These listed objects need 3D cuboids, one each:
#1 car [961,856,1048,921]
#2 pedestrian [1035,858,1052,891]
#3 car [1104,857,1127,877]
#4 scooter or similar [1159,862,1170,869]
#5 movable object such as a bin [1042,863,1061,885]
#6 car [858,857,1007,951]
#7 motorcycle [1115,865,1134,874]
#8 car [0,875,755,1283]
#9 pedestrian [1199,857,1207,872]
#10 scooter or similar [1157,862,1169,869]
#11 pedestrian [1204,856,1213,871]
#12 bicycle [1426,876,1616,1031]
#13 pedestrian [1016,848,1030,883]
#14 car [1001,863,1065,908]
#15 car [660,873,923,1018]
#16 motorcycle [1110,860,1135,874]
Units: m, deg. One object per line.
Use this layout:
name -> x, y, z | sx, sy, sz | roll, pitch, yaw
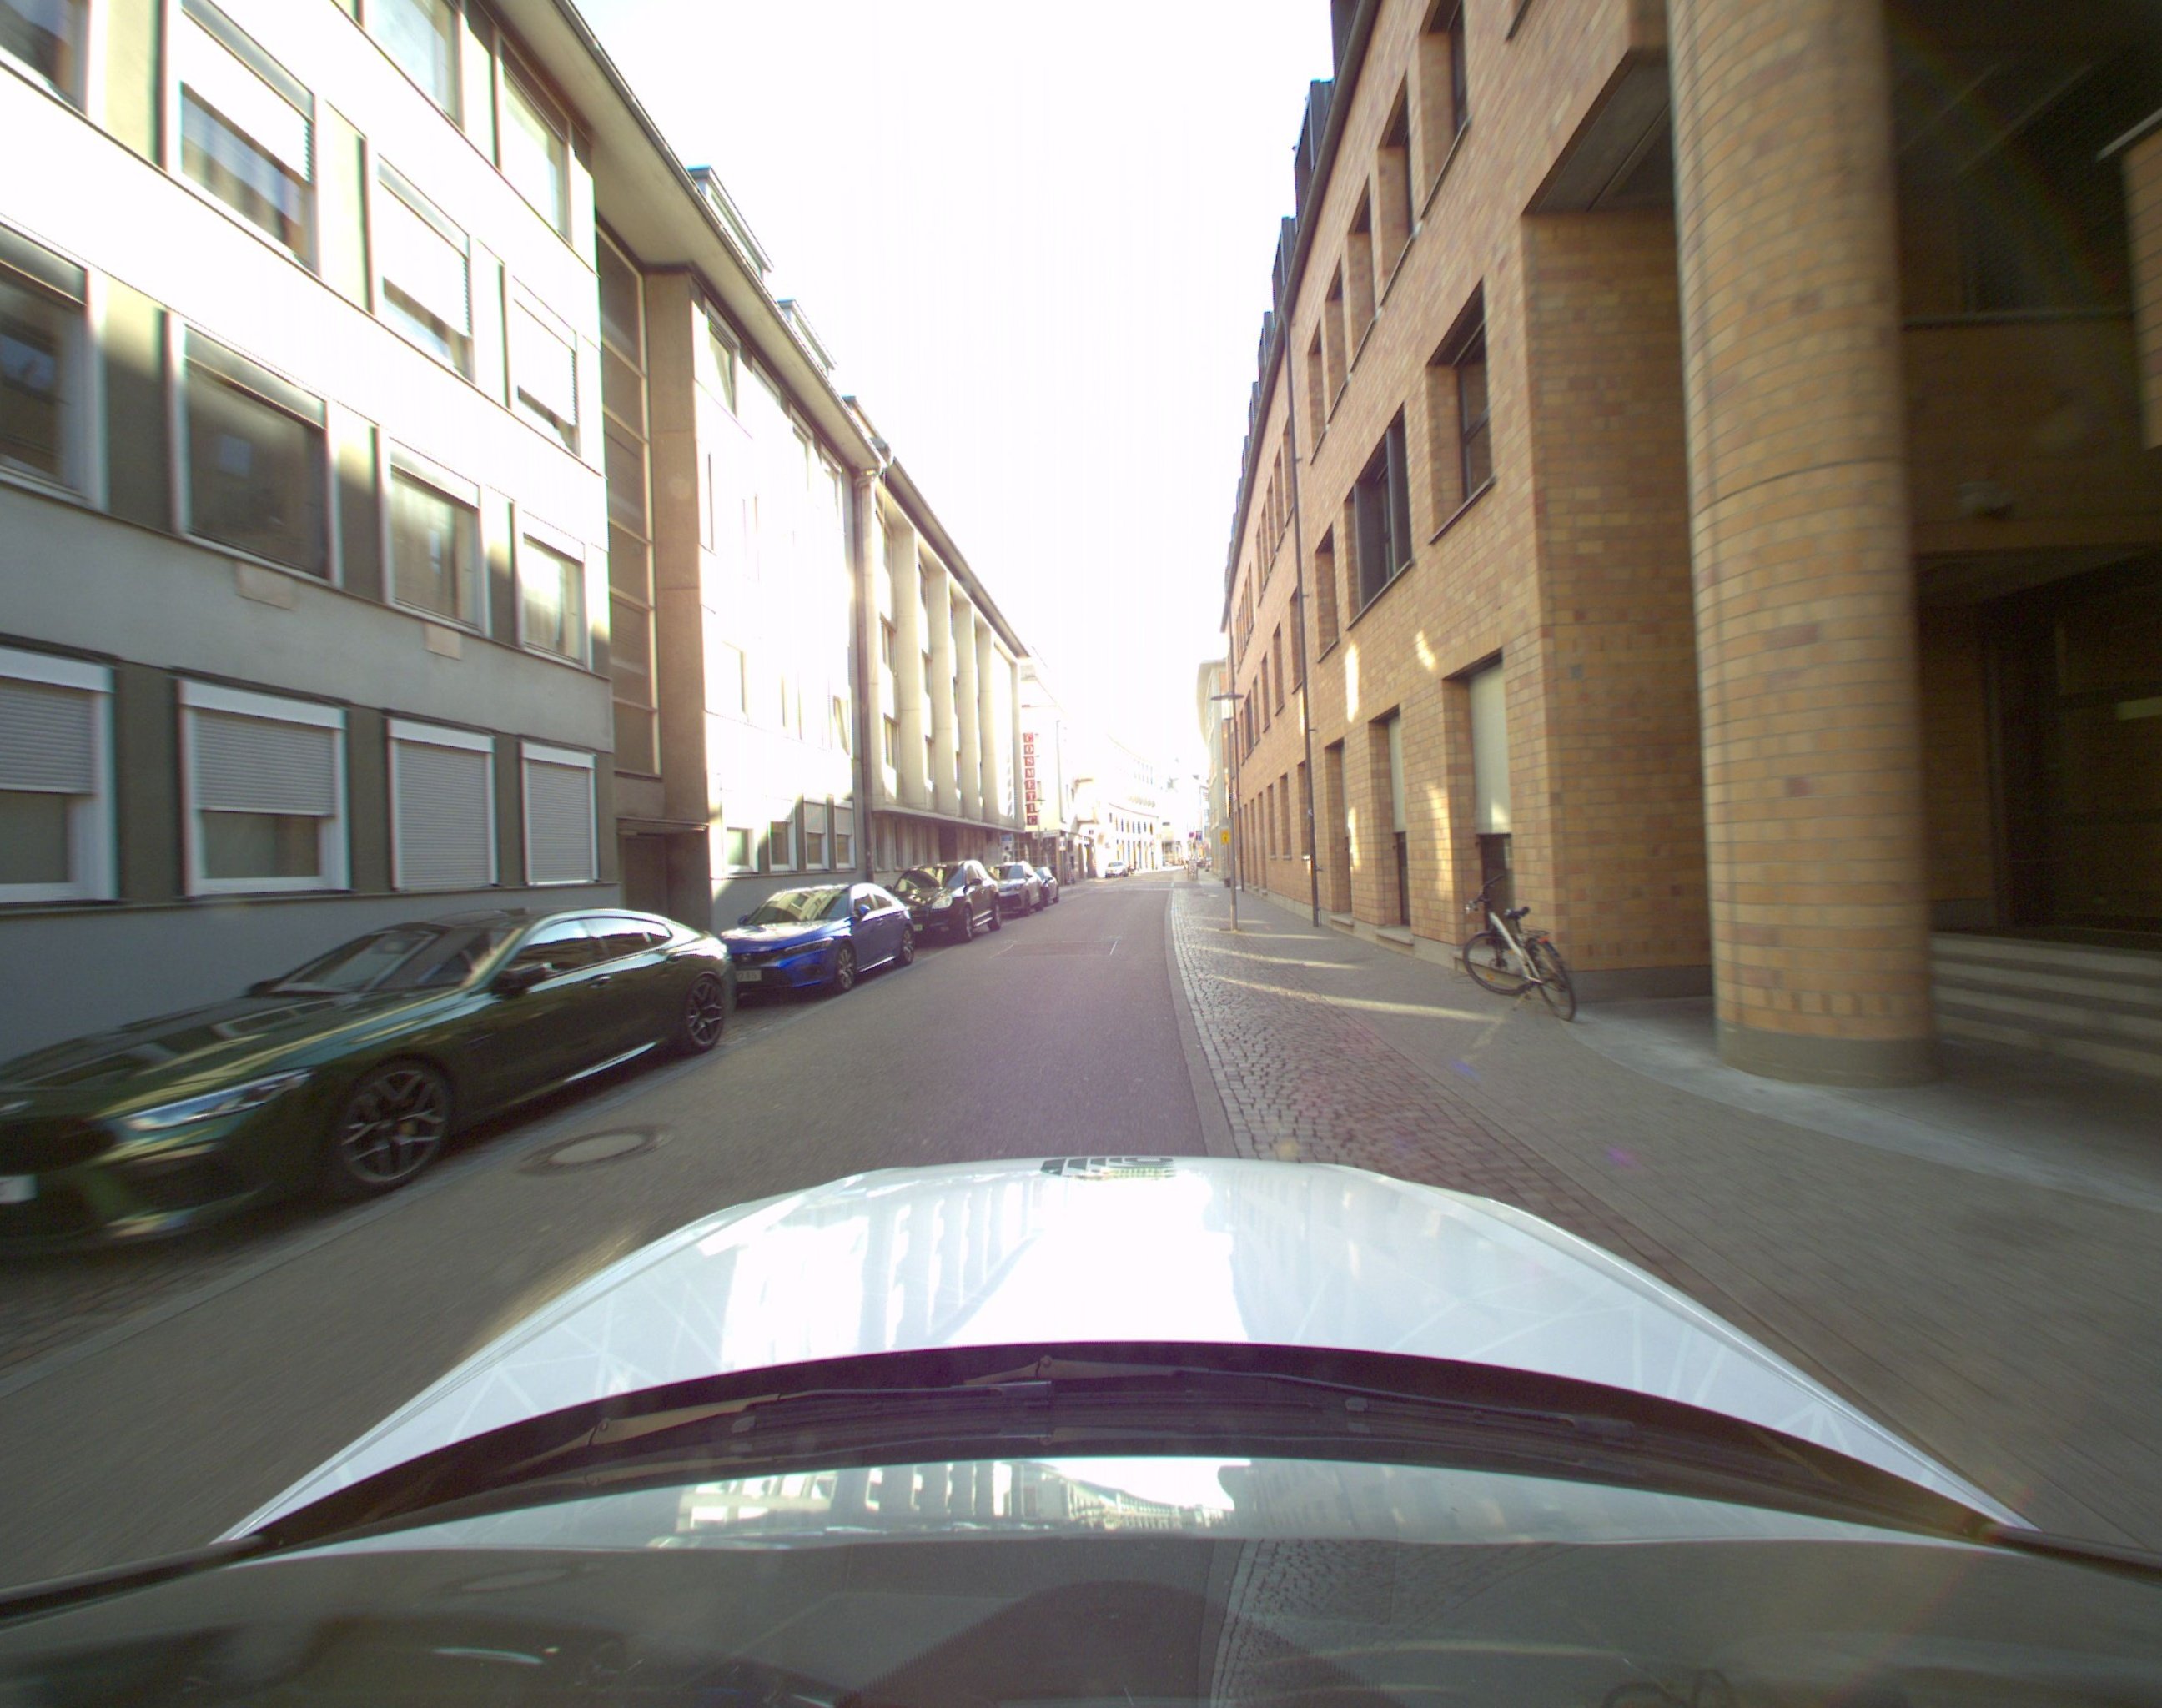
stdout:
car -> -2.268, 1.000, 25.365 | 1.881, 1.742, 4.396 | -3, 0, 5
pedestrian -> -1.896, 1.013, 41.011 | 0.649, 1.625, 0.452 | -2, -1, -35
car -> 3.016, 1.108, 70.687 | 1.727, 1.606, 3.540 | -2, 0, 7
scooter or similar -> 11.948, 1.617, 116.163 | 0.520, 0.928, 2.242 | -2, 0, 36
movable object such as a bin -> -1.976, 1.328, 54.139 | 0.939, 1.420, 0.874 | 1, -2, -41
car -> -3.038, 0.957, 17.747 | 1.880, 1.675, 4.561 | -3, 0, 6
motorcycle -> 4.180, 1.514, 78.158 | 1.680, 0.859, 0.596 | -1, -1, 11
car -> -4.435, 1.051, 5.829 | 1.881, 1.530, 4.735 | -4, 0, 4
pedestrian -> 15.452, 1.335, 103.211 | 0.662, 1.869, 0.780 | 0, -1, -24
scooter or similar -> 11.386, 1.597, 113.171 | 0.520, 0.928, 2.242 | -2, 0, 36
pedestrian -> 15.308, 1.153, 97.708 | 0.662, 1.869, 0.755 | 0, -1, -24
bicycle -> 3.826, 0.800, 7.296 | 0.548, 1.103, 1.982 | -6, 0, 1
pedestrian -> -2.962, 0.582, 41.594 | 0.443, 1.738, 0.556 | -3, -1, 29
car -> -1.757, 1.146, 31.218 | 1.640, 1.460, 4.006 | -5, -1, 6
car -> -3.852, 1.129, 11.780 | 1.881, 1.530, 4.345 | -3, 0, 5
motorcycle -> 4.222, 1.321, 82.085 | 2.378, 1.317, 0.863 | -4, -1, 6
